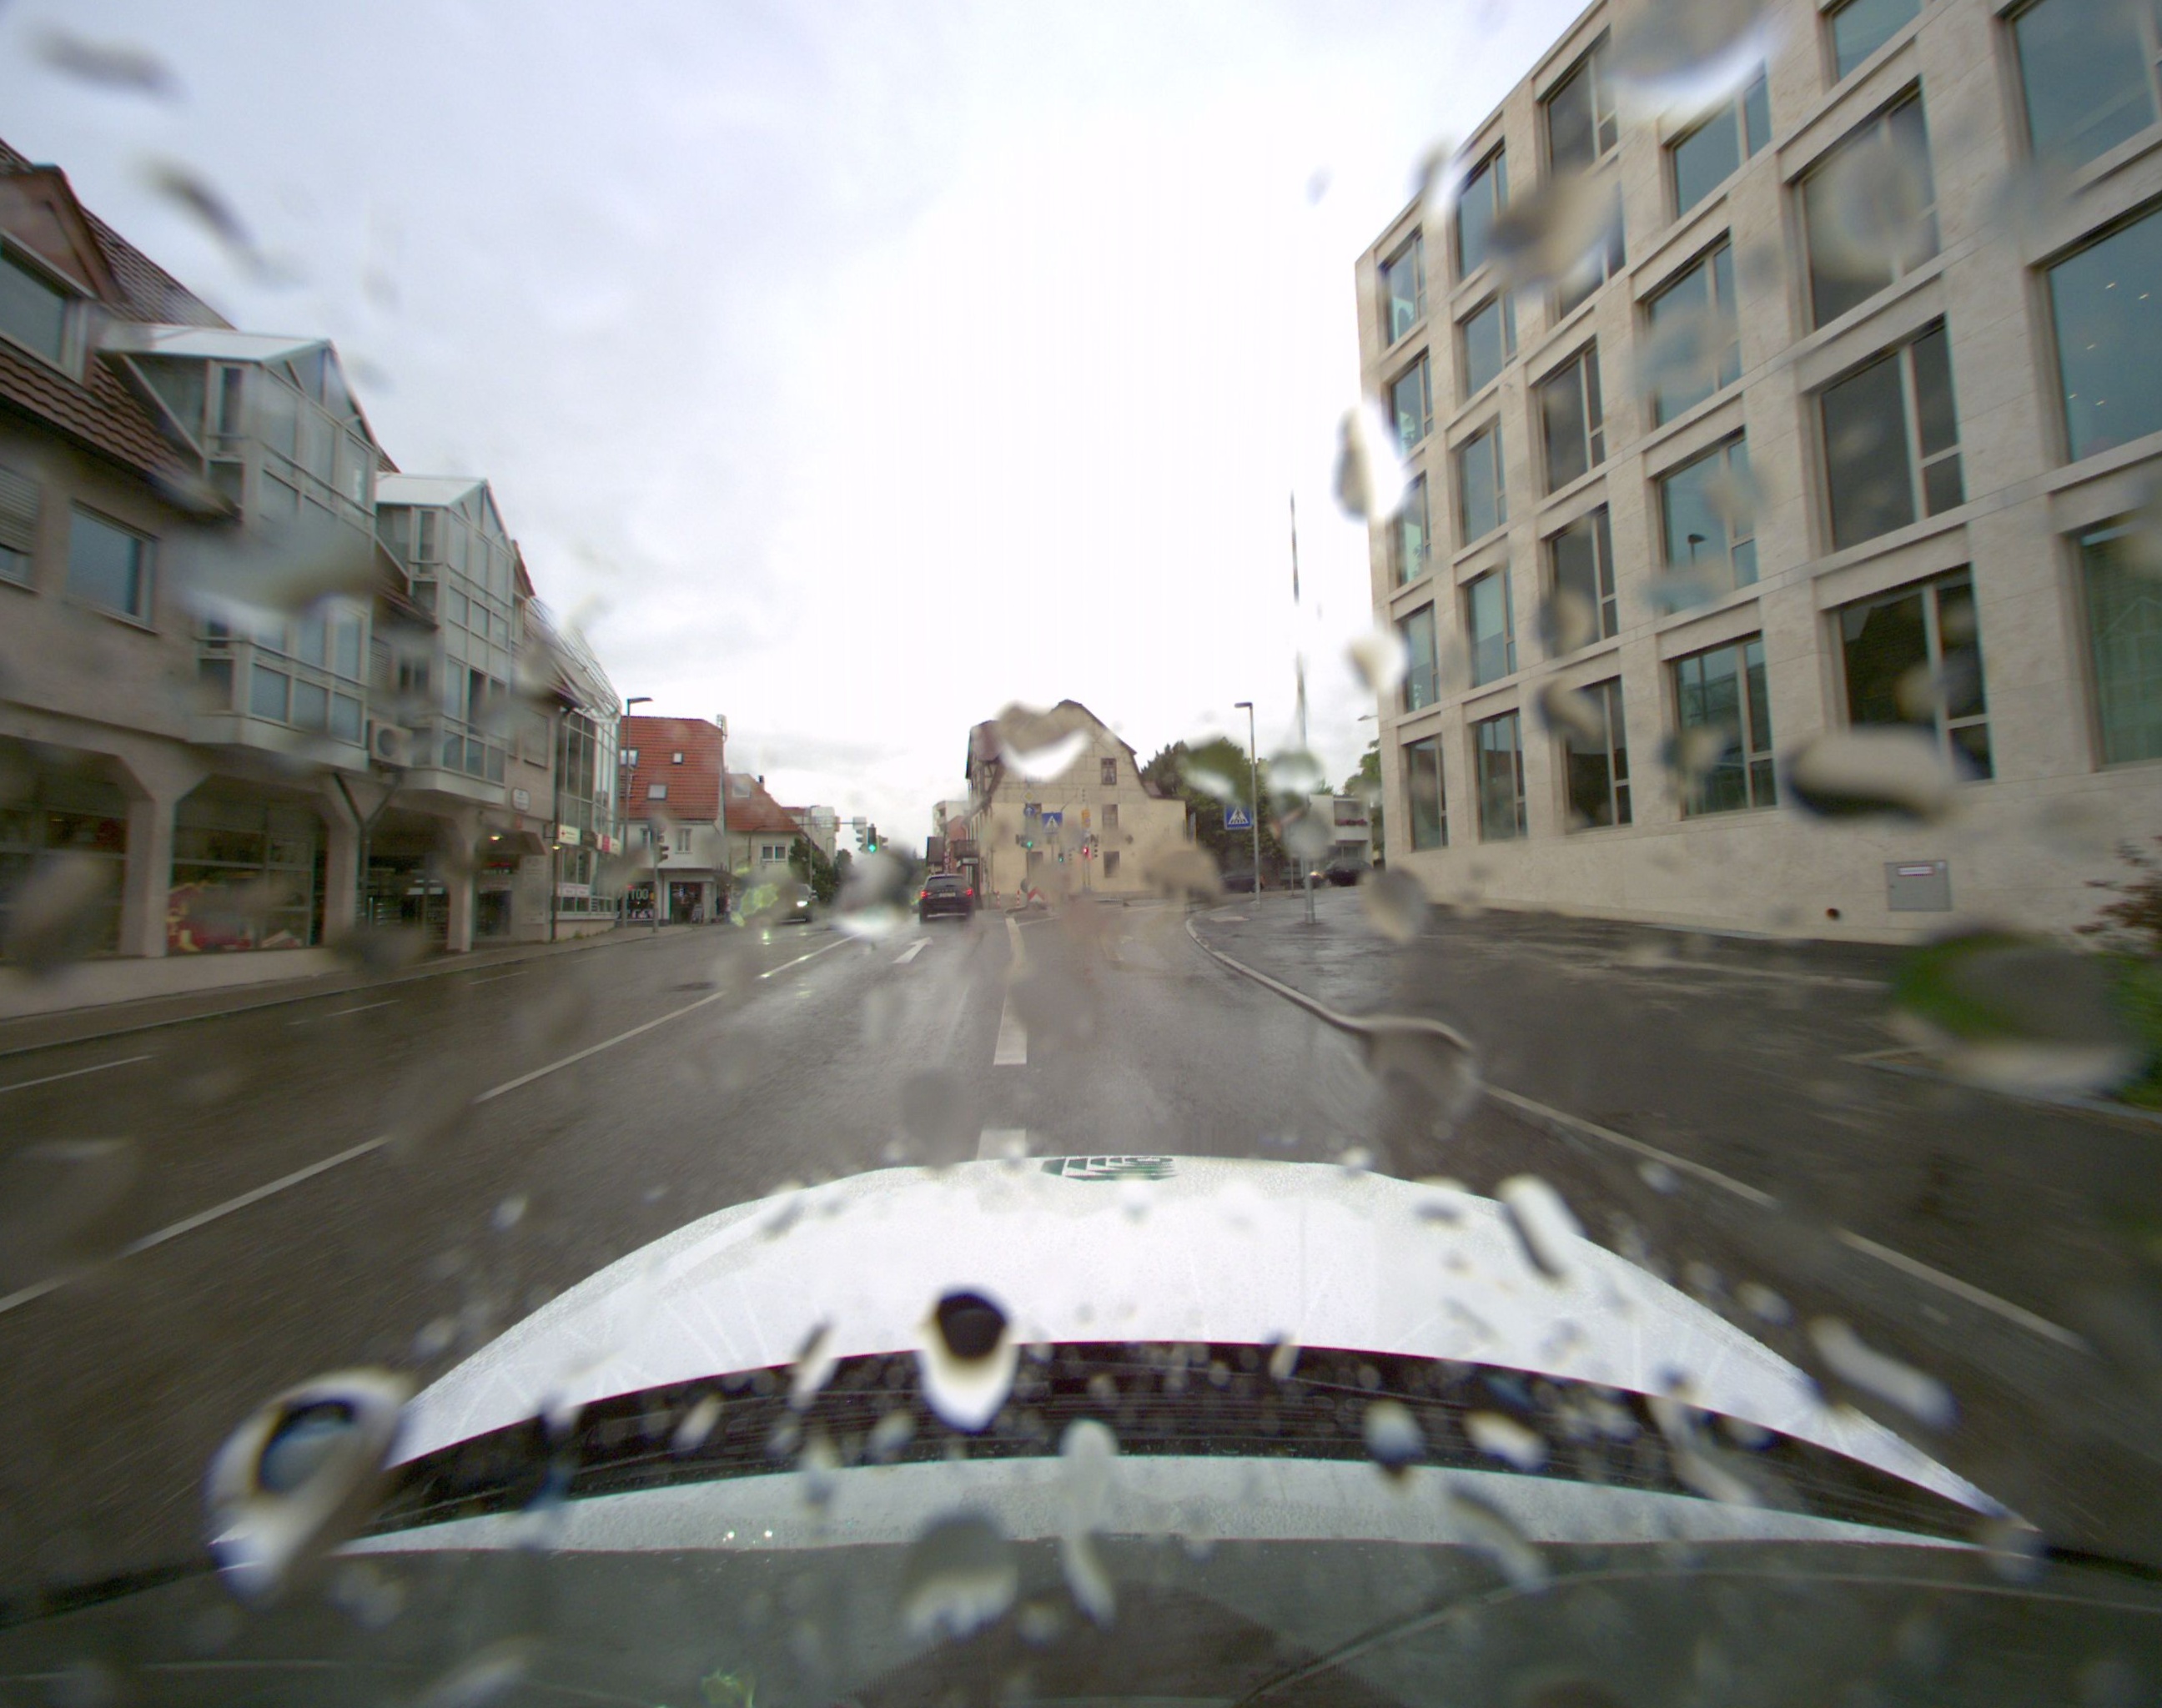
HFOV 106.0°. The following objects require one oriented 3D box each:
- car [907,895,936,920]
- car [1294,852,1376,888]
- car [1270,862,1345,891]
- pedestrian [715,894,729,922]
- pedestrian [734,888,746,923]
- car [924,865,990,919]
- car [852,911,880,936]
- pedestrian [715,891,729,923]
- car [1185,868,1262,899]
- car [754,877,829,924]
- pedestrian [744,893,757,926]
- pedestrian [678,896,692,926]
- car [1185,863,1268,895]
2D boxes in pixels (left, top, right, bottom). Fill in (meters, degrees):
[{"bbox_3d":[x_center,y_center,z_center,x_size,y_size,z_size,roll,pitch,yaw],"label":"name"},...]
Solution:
[{"bbox_3d":[-11.629,3.887,59.446,1.887,1.467,3.986,-3,0,-10],"label":"car"},{"bbox_3d":[15.229,0.951,48.844,4.312,1.816,1.768,-3,-5,-17],"label":"car"},{"bbox_3d":[14.441,1.427,51.967,4.182,1.519,1.768,-3,-5,-17],"label":"car"},{"bbox_3d":[-20.252,3.028,45.969,0.594,1.559,0.630,-2,-2,-20],"label":"pedestrian"},{"bbox_3d":[-19.062,2.866,45.506,0.536,1.871,0.630,-2,-2,-20],"label":"pedestrian"},{"bbox_3d":[-4.105,1.206,27.539,1.942,1.566,4.408,-1,0,-6],"label":"car"},{"bbox_3d":[-25.650,8.239,97.377,2.589,2.626,6.530,-3,-2,-11],"label":"car"},{"bbox_3d":[-20.696,3.056,46.978,0.594,1.774,0.630,-2,-2,-20],"label":"pedestrian"},{"bbox_3d":[8.684,1.792,49.793,4.182,1.519,1.768,-3,-5,-17],"label":"car"},{"bbox_3d":[-10.597,1.658,30.063,1.887,1.467,3.986,-3,0,-10],"label":"car"},{"bbox_3d":[-19.414,3.270,47.817,0.605,1.867,0.743,-2,-2,-20],"label":"pedestrian"},{"bbox_3d":[-21.629,3.094,44.487,0.594,1.559,0.630,-2,-2,-20],"label":"pedestrian"},{"bbox_3d":[8.414,1.434,47.115,4.314,1.505,1.767,-3,-5,-18],"label":"car"}]
